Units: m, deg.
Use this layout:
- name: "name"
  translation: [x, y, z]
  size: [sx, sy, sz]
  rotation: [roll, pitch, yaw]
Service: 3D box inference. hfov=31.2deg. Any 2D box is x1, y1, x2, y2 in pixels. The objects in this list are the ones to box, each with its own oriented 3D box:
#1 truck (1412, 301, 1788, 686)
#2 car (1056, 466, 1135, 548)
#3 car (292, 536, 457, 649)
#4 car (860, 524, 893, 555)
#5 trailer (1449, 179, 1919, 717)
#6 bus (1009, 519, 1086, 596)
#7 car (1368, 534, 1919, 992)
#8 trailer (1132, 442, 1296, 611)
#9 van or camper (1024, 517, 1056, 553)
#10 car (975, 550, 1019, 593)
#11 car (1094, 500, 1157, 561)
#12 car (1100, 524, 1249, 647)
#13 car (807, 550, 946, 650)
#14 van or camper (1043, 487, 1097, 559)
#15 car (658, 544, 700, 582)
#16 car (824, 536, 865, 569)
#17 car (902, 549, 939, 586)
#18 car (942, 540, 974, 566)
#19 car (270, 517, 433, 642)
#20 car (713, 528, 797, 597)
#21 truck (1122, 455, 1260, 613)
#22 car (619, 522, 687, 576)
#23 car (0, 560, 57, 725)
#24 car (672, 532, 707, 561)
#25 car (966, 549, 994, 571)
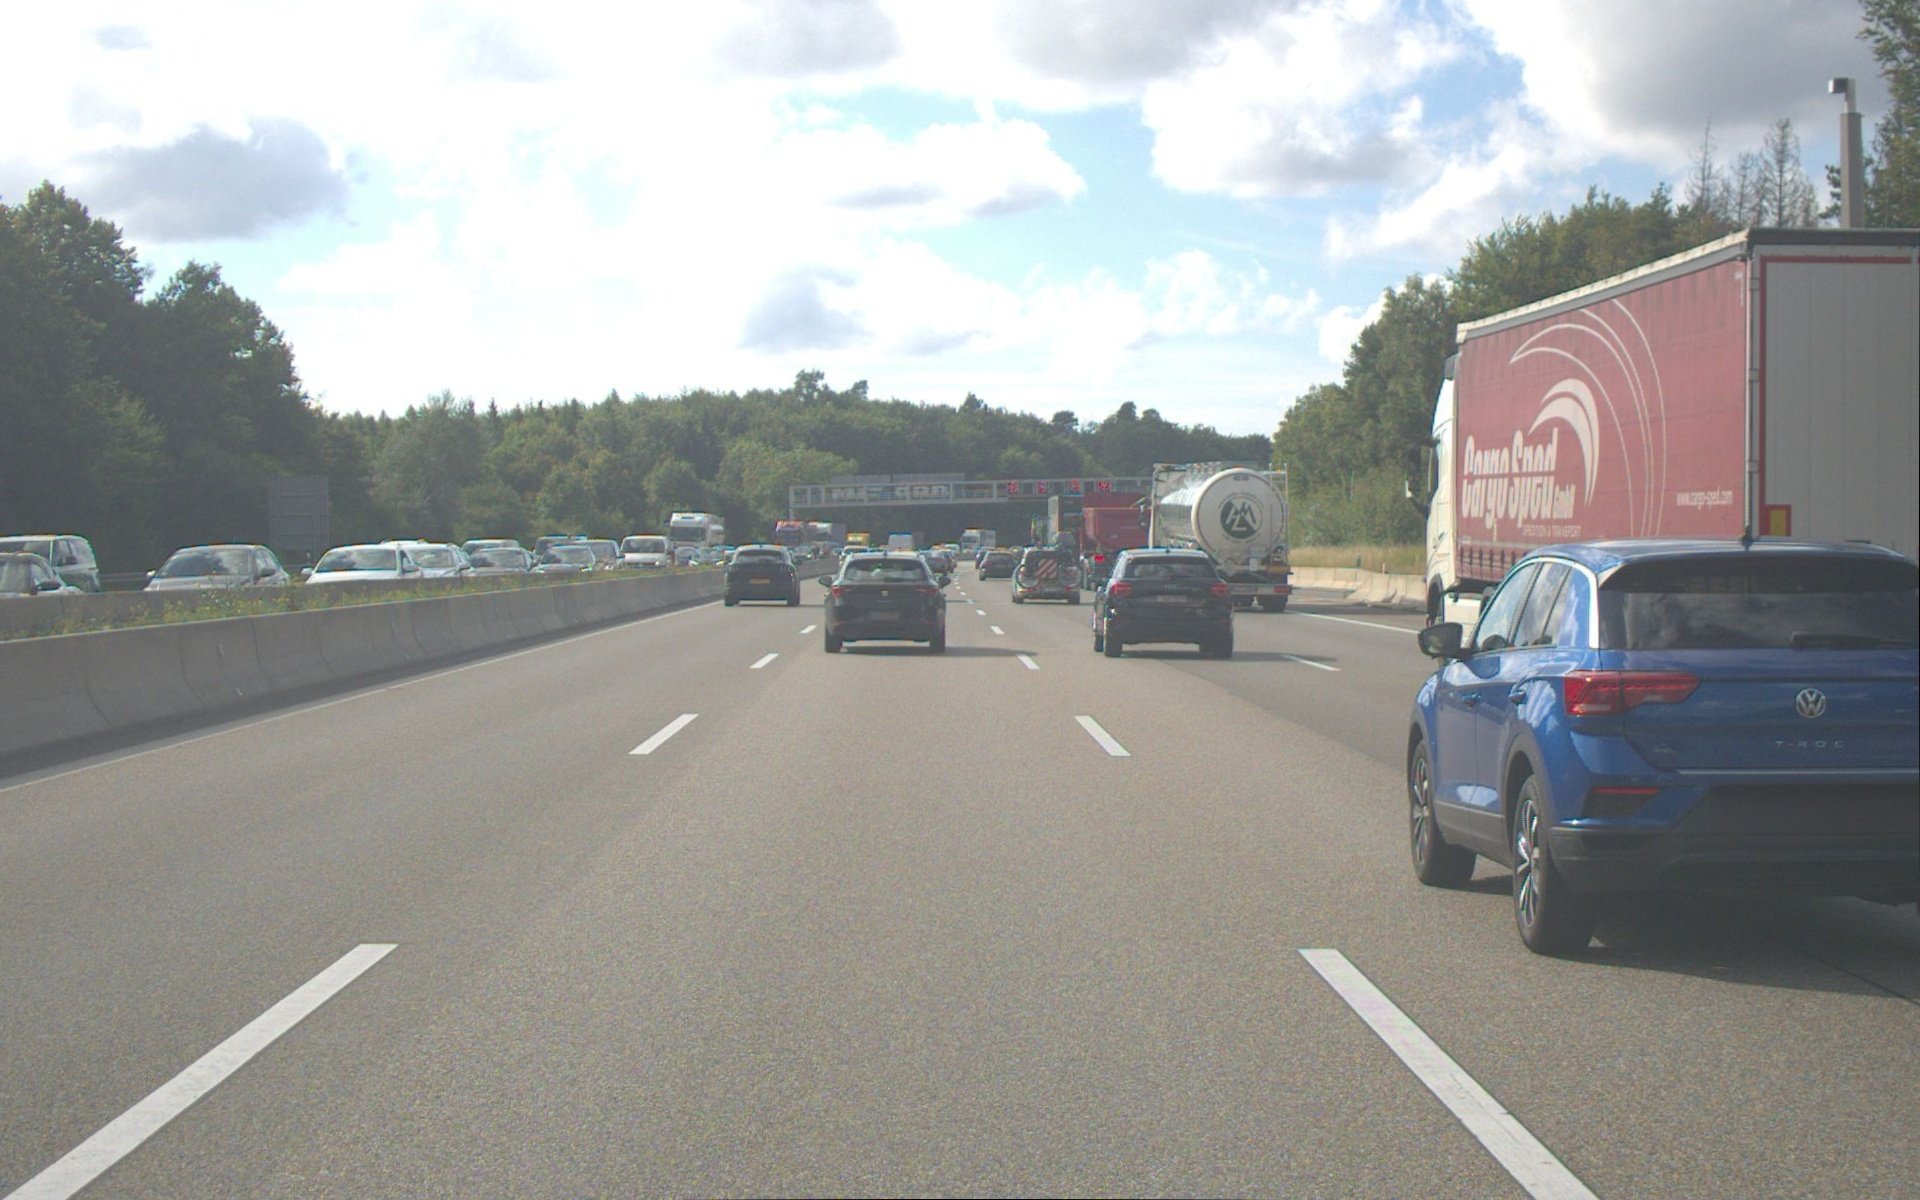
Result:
- name: "truck"
  translation: [7.199, -1.084, 39.548]
  size: [3.080, 4.050, 6.069]
  rotation: [1, -1, -1]
- name: "car"
  translation: [5.262, -3.603, 134.387]
  size: [2.866, 2.981, 5.149]
  rotation: [1, -1, 1]
- name: "car"
  translation: [-10.135, -0.091, 59.815]
  size: [1.958, 1.858, 4.550]
  rotation: [1, -1, 2]
- name: "car"
  translation: [-5.423, -3.930, 223.492]
  size: [1.993, 2.007, 4.001]
  rotation: [1, 1, -3]
- name: "trailer"
  translation: [7.289, -1.029, 32.783]
  size: [3.038, 4.021, 13.890]
  rotation: [1, -1, -1]
- name: "bus"
  translation: [2.396, -1.165, 95.344]
  size: [1.993, 2.007, 4.000]
  rotation: [1, -1, 0]
- name: "car"
  translation: [2.950, 0.516, 14.103]
  size: [1.924, 1.536, 4.646]
  rotation: [0, 1, -1]
- name: "trailer"
  translation: [6.369, -1.727, 88.116]
  size: [3.036, 4.002, 12.245]
  rotation: [0, 0, -1]
- name: "van or camper"
  translation: [5.671, -4.604, 243.270]
  size: [2.083, 2.484, 4.225]
  rotation: [0, 1, -1]
- name: "car"
  translation: [1.791, -1.356, 166.838]
  size: [1.993, 2.007, 4.000]
  rotation: [1, 0, -1]
- name: "car"
  translation: [5.956, -2.498, 124.379]
  size: [1.993, 2.007, 4.000]
  rotation: [1, -1, -1]
- name: "car"
  translation: [2.992, -0.205, 48.640]
  size: [1.799, 1.639, 4.000]
  rotation: [1, 0, 0]
- name: "car"
  translation: [-1.260, 0.003, 50.003]
  size: [1.734, 1.360, 4.001]
  rotation: [1, 0, -5]
- name: "van or camper"
  translation: [5.107, -3.582, 160.692]
  size: [2.351, 3.133, 5.710]
  rotation: [1, -1, 1]
- name: "car"
  translation: [-15.871, -2.095, 194.624]
  size: [1.993, 2.007, 4.000]
  rotation: [1, -1, 1]
- name: "car"
  translation: [-6.518, -2.662, 194.814]
  size: [2.154, 1.770, 4.000]
  rotation: [1, 0, 0]
- name: "car"
  translation: [-2.236, -1.823, 194.274]
  size: [1.993, 2.007, 4.000]
  rotation: [-1, -1, -1]
- name: "car"
  translation: [-0.129, -2.961, 216.251]
  size: [1.993, 1.612, 4.000]
  rotation: [0, 1, -1]
- name: "car"
  translation: [-10.261, -0.310, 58.264]
  size: [1.993, 2.007, 4.000]
  rotation: [1, -1, 1]
- name: "car"
  translation: [-5.367, -0.990, 90.337]
  size: [1.993, 1.770, 4.000]
  rotation: [0, 1, 0]
- name: "truck"
  translation: [6.235, -1.724, 93.825]
  size: [3.045, 4.146, 7.127]
  rotation: [0, 0, -2]
- name: "car"
  translation: [-11.490, -1.887, 128.944]
  size: [1.993, 1.858, 4.550]
  rotation: [1, -1, 2]
- name: "car"
  translation: [-11.346, 0.456, 37.615]
  size: [1.819, 1.788, 4.000]
  rotation: [1, -1, 1]
- name: "car"
  translation: [-18.505, -3.675, 235.423]
  size: [1.993, 2.007, 4.000]
  rotation: [0, 1, 1]
- name: "car"
  translation: [1.511, -3.047, 260.120]
  size: [1.993, 1.612, 4.000]
  rotation: [0, 1, -1]
